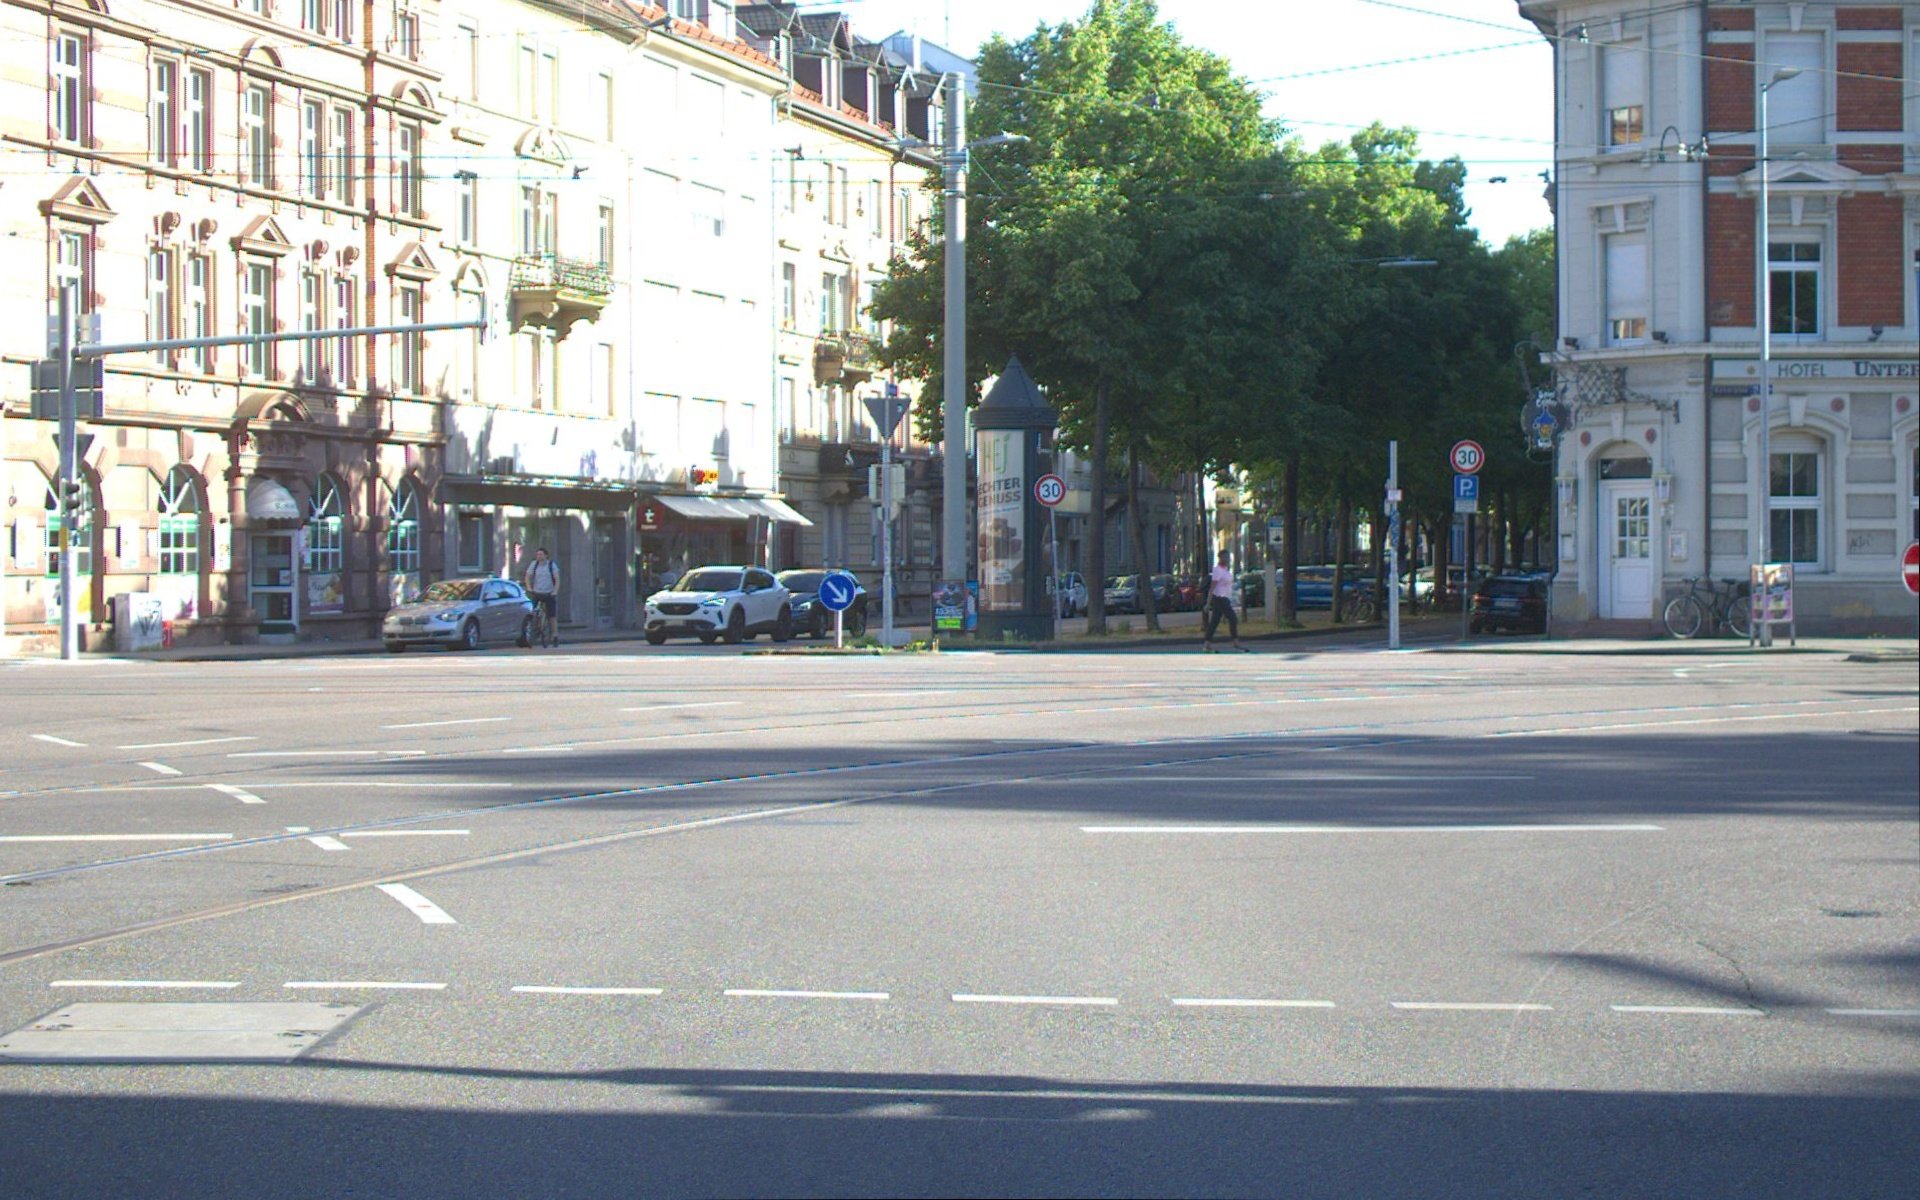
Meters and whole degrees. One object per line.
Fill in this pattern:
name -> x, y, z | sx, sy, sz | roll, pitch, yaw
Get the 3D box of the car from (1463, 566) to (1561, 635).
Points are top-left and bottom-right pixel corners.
car -> 13.262, -0.013, 82.462 | 1.995, 1.579, 3.998 | 0, 1, 14

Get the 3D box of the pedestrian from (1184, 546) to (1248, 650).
pedestrian -> 4.299, -0.041, 57.778 | 1.046, 1.738, 0.808 | 0, 1, 6

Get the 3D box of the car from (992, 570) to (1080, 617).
car -> 2.478, -0.224, 110.983 | 1.995, 1.481, 3.998 | 0, 1, 14

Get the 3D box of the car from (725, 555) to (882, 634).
car -> -3.324, -0.137, 73.858 | 1.995, 1.606, 4.387 | 0, 1, 17

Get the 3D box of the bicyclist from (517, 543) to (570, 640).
bicyclist -> -7.884, -0.165, 65.066 | 0.679, 1.814, 1.070 | 0, 1, 12

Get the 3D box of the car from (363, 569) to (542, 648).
car -> -9.858, 0.147, 67.070 | 1.900, 1.450, 3.997 | 0, 1, 17

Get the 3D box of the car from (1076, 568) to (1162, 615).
car -> 5.697, -0.300, 122.685 | 1.995, 1.607, 4.387 | 0, 1, 17

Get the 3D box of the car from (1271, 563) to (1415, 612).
car -> 12.850, -0.439, 115.370 | 4.382, 1.606, 1.997 | 0, 1, 27

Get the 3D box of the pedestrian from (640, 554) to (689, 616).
pedestrian -> -7.444, -0.386, 86.657 | 0.929, 1.530, 1.136 | 0, 1, 14

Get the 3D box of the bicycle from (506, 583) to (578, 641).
bicycle -> -7.894, 0.215, 65.031 | 0.680, 1.062, 2.124 | 0, 1, 12

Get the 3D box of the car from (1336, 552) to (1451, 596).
car -> 16.851, -1.015, 133.645 | 3.993, 1.700, 1.997 | 0, 1, 30

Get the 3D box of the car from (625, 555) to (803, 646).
car -> -4.769, -0.019, 67.345 | 1.995, 1.678, 4.387 | 0, 1, 17

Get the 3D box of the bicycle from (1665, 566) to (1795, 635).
bicycle -> 12.852, 0.007, 57.411 | 2.085, 1.120, 0.367 | 1, 0, -4
